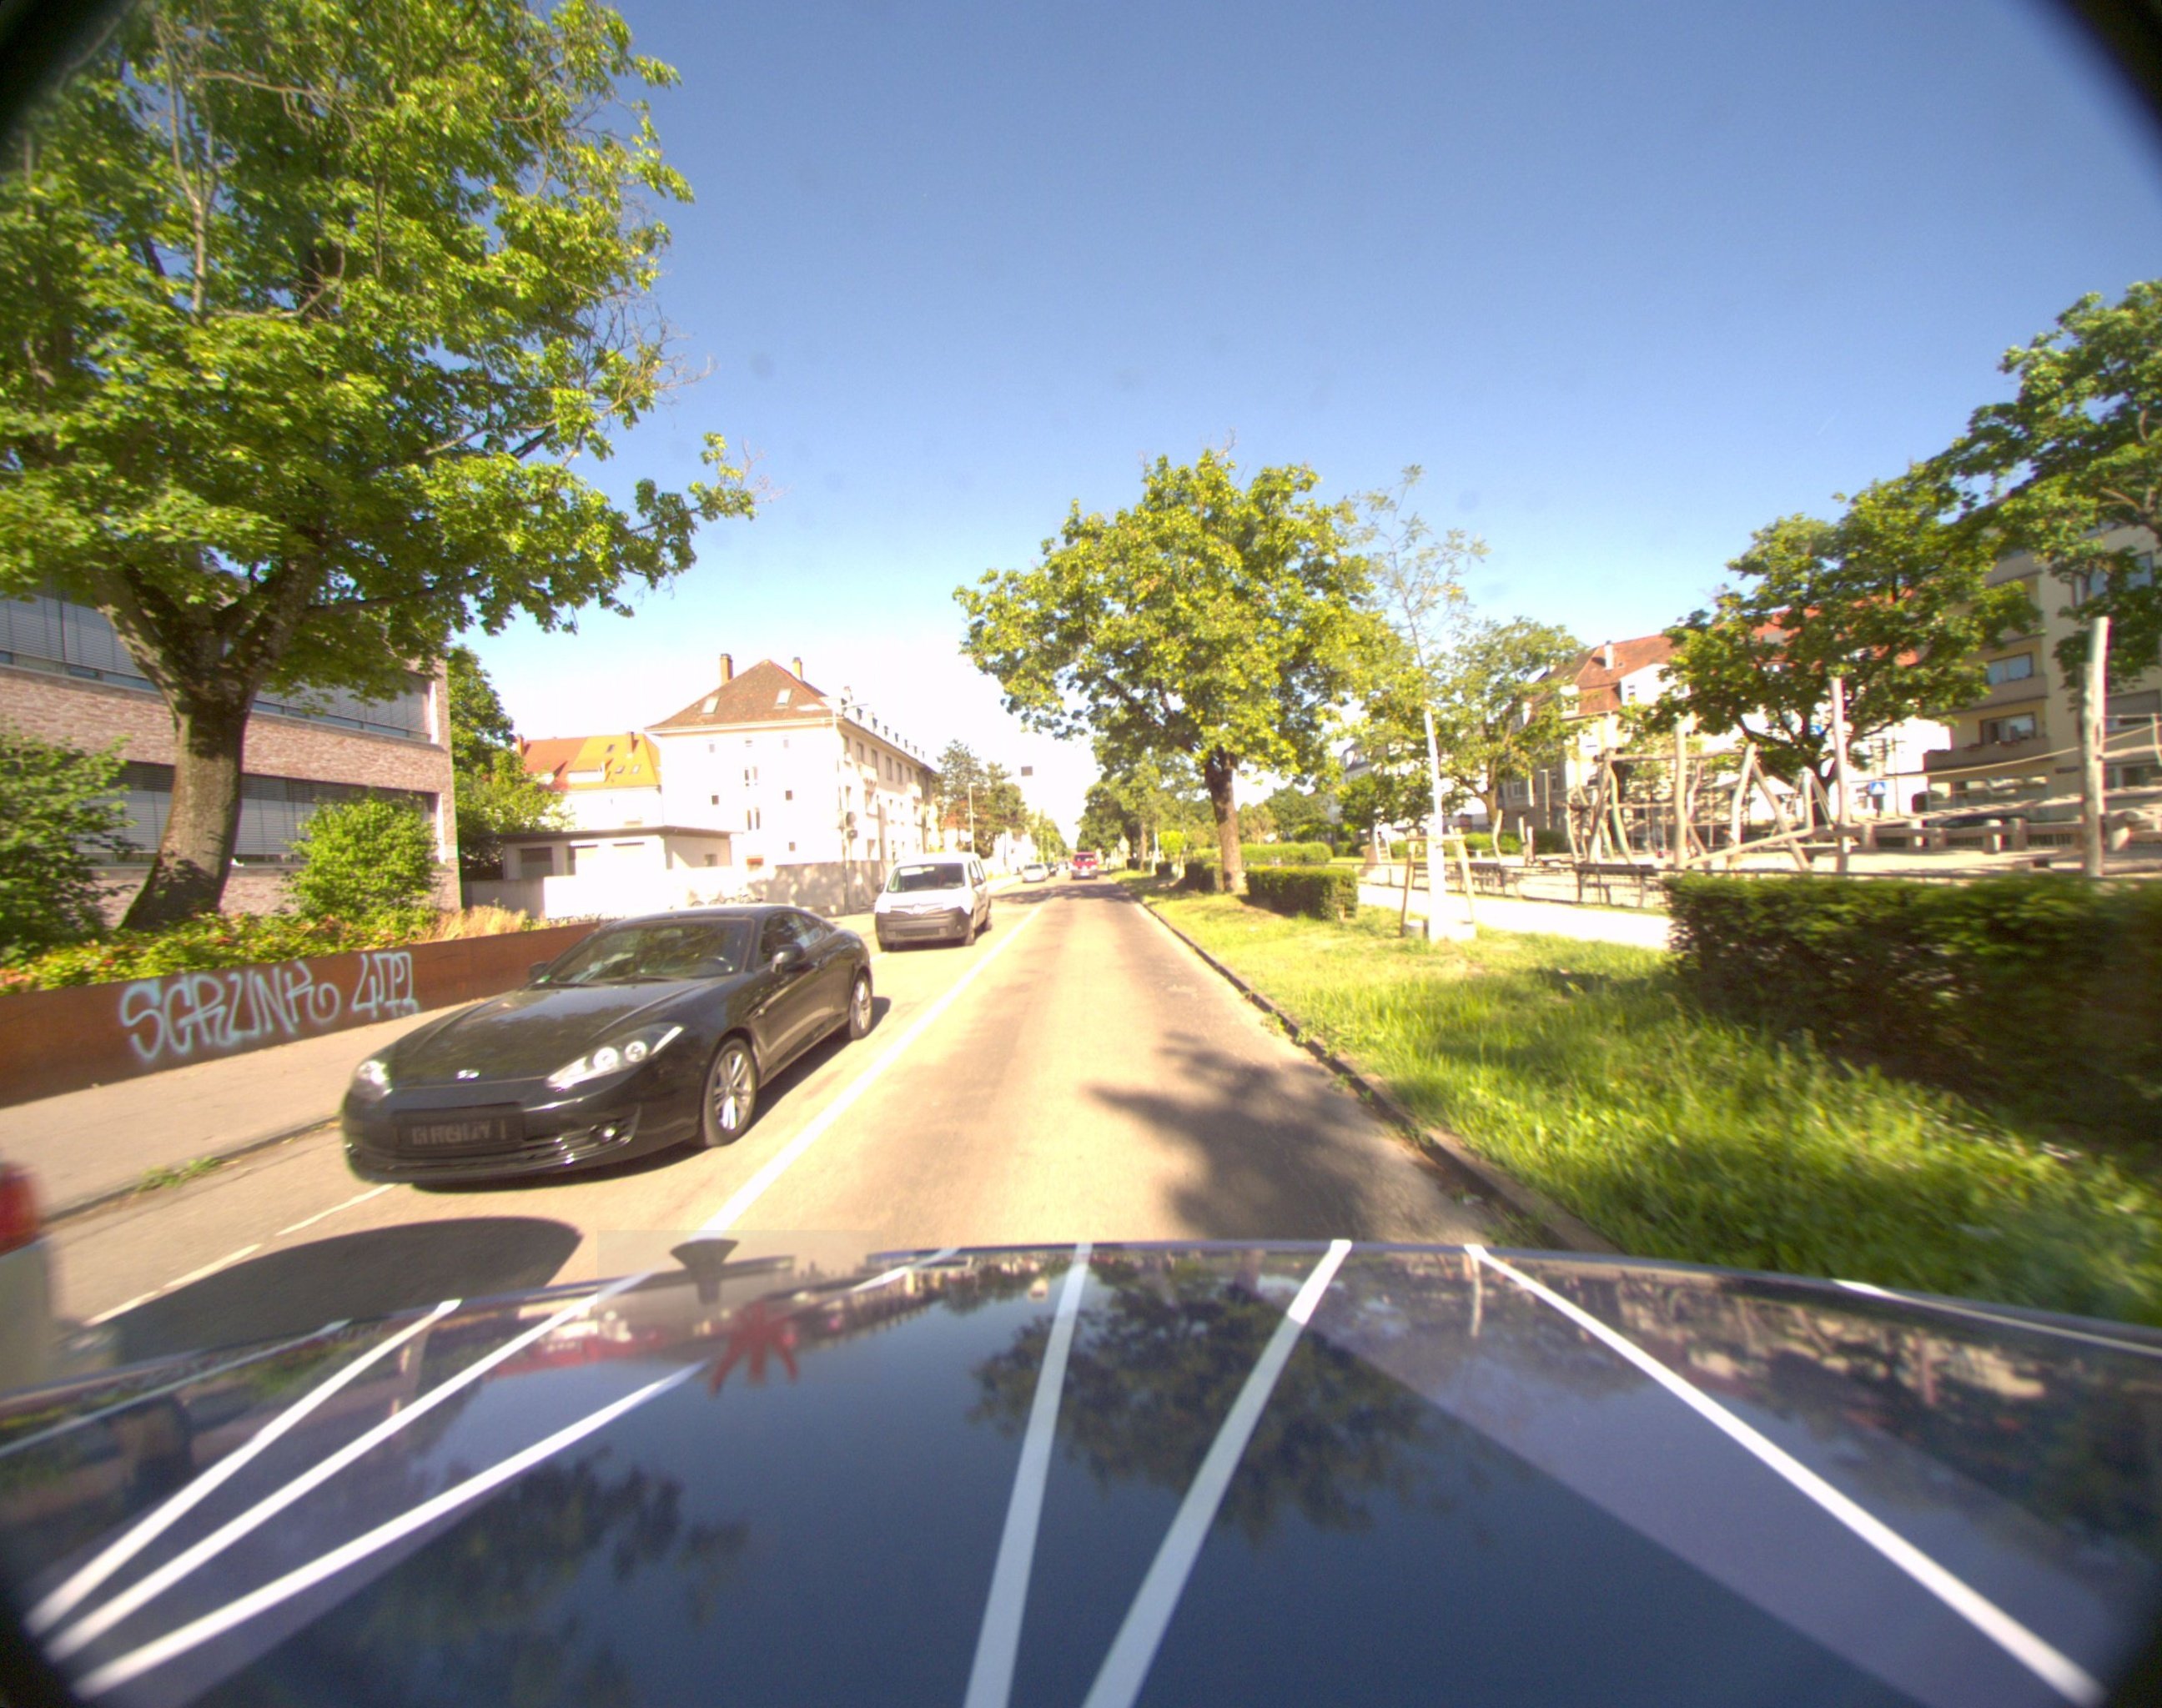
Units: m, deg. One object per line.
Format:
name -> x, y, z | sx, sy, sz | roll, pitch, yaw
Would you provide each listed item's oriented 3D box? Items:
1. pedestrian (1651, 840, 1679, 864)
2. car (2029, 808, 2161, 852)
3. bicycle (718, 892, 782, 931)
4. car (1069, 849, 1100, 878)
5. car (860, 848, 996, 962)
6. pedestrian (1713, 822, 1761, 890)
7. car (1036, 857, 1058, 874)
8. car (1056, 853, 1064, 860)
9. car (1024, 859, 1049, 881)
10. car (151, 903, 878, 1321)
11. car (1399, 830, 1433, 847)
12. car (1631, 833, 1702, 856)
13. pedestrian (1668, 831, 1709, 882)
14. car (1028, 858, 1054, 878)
pedestrian -> 24.010, -0.084, 31.251 | 0.542, 0.973, 0.778 | -3, 0, 8
car -> 39.384, -0.915, 28.374 | 1.911, 1.501, 4.764 | -3, 0, 0
bicycle -> -10.284, 1.787, 23.646 | 1.673, 1.024, 0.500 | -5, 0, -1
car -> 0.275, 0.673, 56.093 | 2.092, 2.000, 4.844 | -2, 0, 0
car -> -2.942, 0.904, 15.595 | 1.812, 1.897, 4.461 | -4, 0, -1
pedestrian -> 16.613, 0.052, 19.252 | 0.649, 1.651, 0.651 | -3, 0, 19
car -> -3.234, 1.092, 73.432 | 1.799, 1.501, 3.995 | -5, 0, 1
car -> -5.048, 0.691, 186.424 | 1.799, 1.529, 4.001 | -3, -1, 0
car -> -3.331, 1.155, 56.926 | 1.664, 1.456, 4.410 | -5, 0, -3
car -> -2.834, 1.178, 5.126 | 1.706, 1.317, 4.129 | -4, 0, 0
car -> 37.013, -1.705, 84.056 | 1.799, 1.625, 4.587 | -3, 0, 1
car -> 43.071, -0.693, 55.995 | 3.989, 1.501, 1.803 | -3, 0, 35
pedestrian -> 16.503, 0.065, 20.655 | 0.649, 1.321, 0.651 | -3, 0, 19
car -> -3.324, 1.162, 63.669 | 1.799, 1.412, 4.288 | -5, 0, 1
